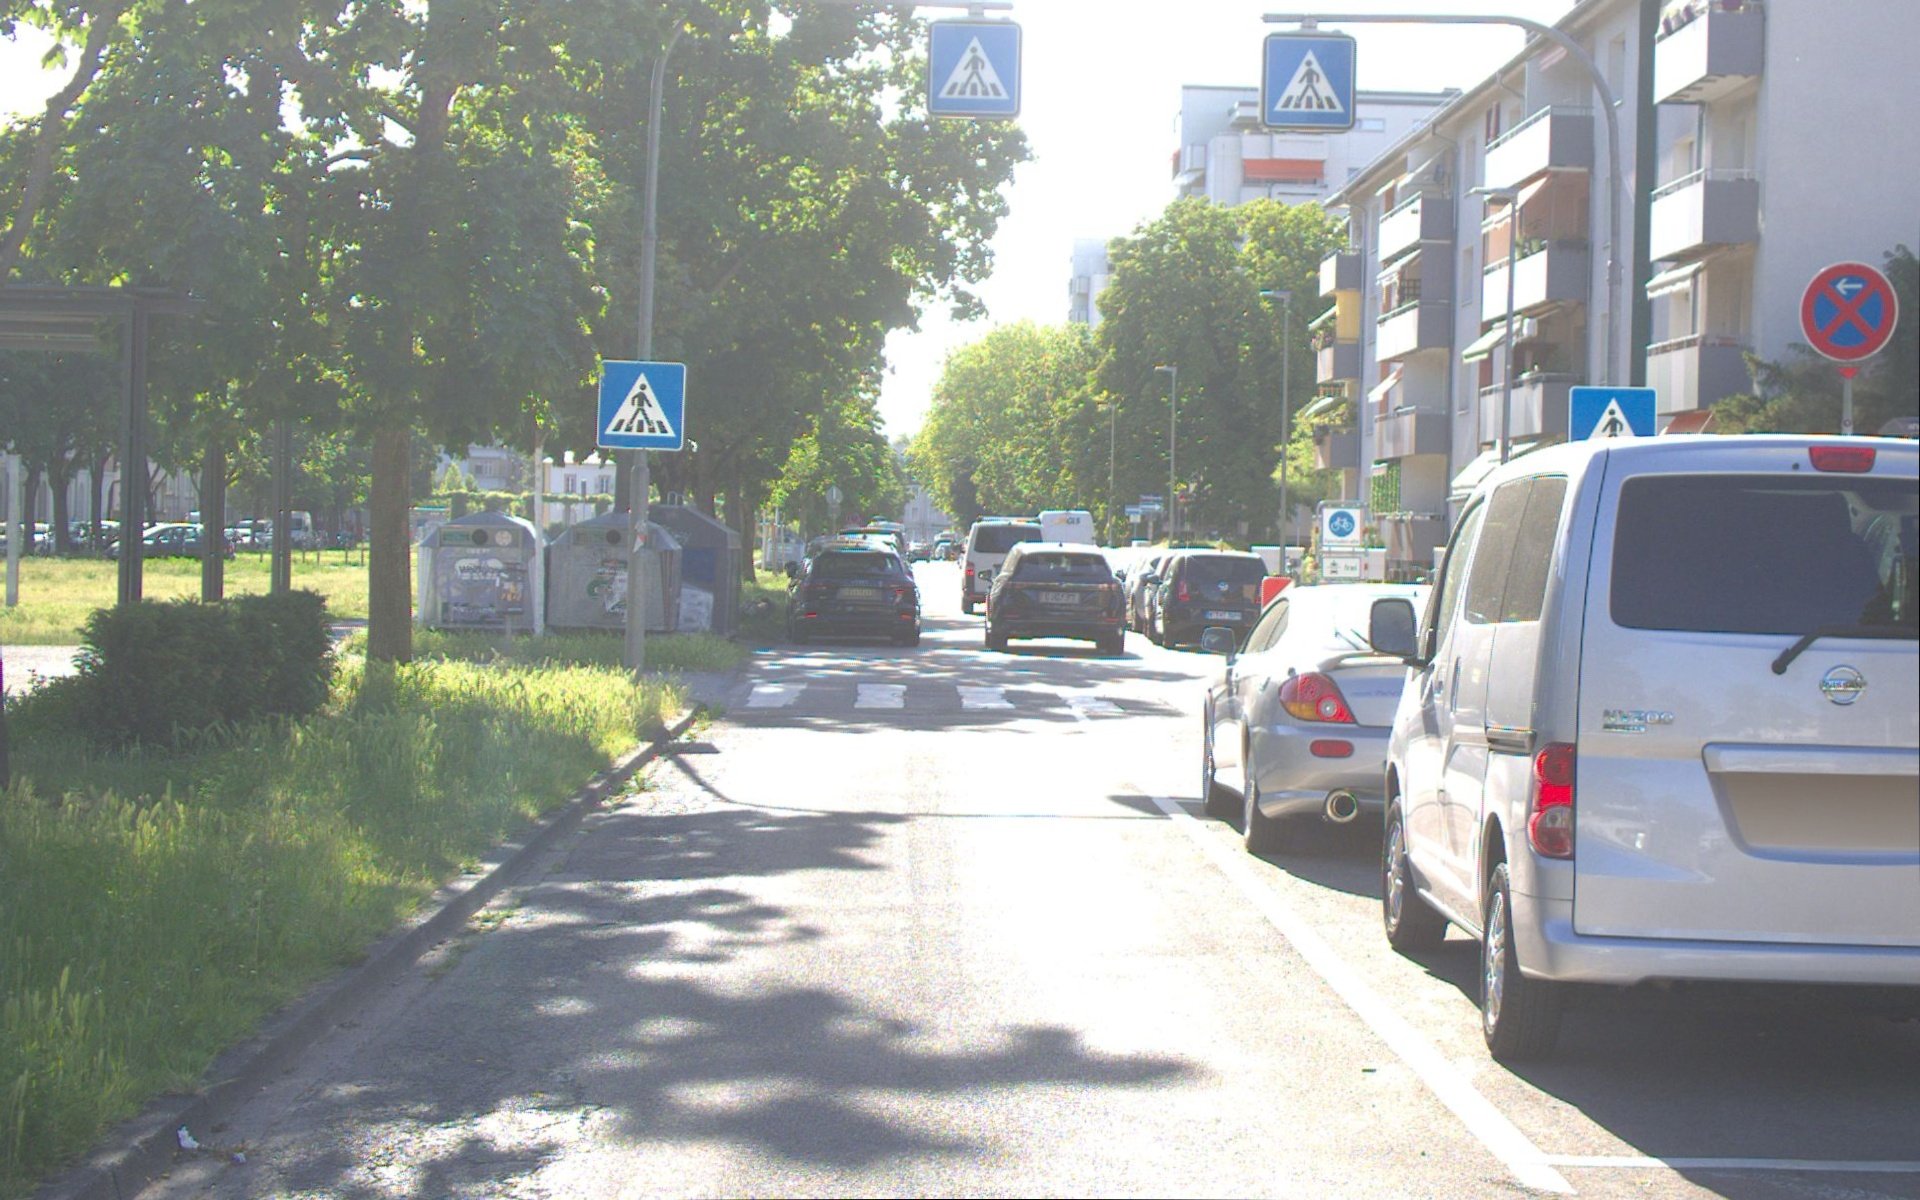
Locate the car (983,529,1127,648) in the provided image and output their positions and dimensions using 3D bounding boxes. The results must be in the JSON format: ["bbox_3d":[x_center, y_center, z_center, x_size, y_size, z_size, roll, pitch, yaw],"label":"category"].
[{"bbox_3d":[1.252,-0.189,46.834,1.794,1.505,4.000,1,1,0],"label":"car"}]

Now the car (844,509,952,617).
[{"bbox_3d":[-1.175,-0.728,66.147,1.993,2.007,4.000,0,1,0],"label":"car"}]

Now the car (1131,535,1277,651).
[{"bbox_3d":[3.586,-0.132,51.097,1.794,1.595,4.000,2,1,0],"label":"car"}]

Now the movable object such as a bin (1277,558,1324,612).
[{"bbox_3d":[9.871,-0.450,99.730,1.091,1.505,2.002,1,1,0],"label":"movable object such as a bin"}]

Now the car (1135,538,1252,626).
[{"bbox_3d":[4.221,-0.361,62.726,1.794,1.505,4.000,1,1,0],"label":"car"}]

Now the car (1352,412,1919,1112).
[{"bbox_3d":[2.442,0.413,11.461,1.794,1.849,4.413,2,1,1],"label":"car"}]

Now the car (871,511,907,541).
[{"bbox_3d":[-3.578,-3.742,173.800,1.794,1.505,4.000,0,1,0],"label":"car"}]

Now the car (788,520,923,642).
[{"bbox_3d":[-1.450,-0.299,48.948,1.794,1.619,4.000,2,1,0],"label":"car"}]

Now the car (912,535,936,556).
[{"bbox_3d":[-2.651,-4.031,253.445,1.794,1.505,4.000,0,1,0],"label":"car"}]

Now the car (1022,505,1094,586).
[{"bbox_3d":[3.105,-1.734,109.660,1.993,2.422,4.500,3,1,0],"label":"car"}]

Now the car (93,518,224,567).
[{"bbox_3d":[-26.664,-1.914,114.442,3.986,1.505,1.800,1,1,-4],"label":"car"}]

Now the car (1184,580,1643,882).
[{"bbox_3d":[2.221,0.590,17.884,1.764,1.314,4.168,2,0,0],"label":"car"}]

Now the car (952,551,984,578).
[{"bbox_3d":[0.433,-2.025,196.773,1.794,1.505,4.000,0,1,0],"label":"car"}]

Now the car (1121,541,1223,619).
[{"bbox_3d":[4.329,-0.437,70.710,1.794,1.505,4.000,1,1,0],"label":"car"}]

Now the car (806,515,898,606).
[{"bbox_3d":[-2.427,-0.908,78.060,1.993,2.007,4.000,0,1,0],"label":"car"}]

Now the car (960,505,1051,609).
[{"bbox_3d":[0.945,-0.937,73.476,1.794,2.115,4.000,1,1,0],"label":"car"}]

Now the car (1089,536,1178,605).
[{"bbox_3d":[3.982,-0.711,79.328,1.794,1.505,4.000,1,1,0],"label":"car"}]

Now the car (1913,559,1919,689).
[{"bbox_3d":[14.192,0.342,42.112,4.479,1.617,1.800,1,-1,-3],"label":"car"}]
